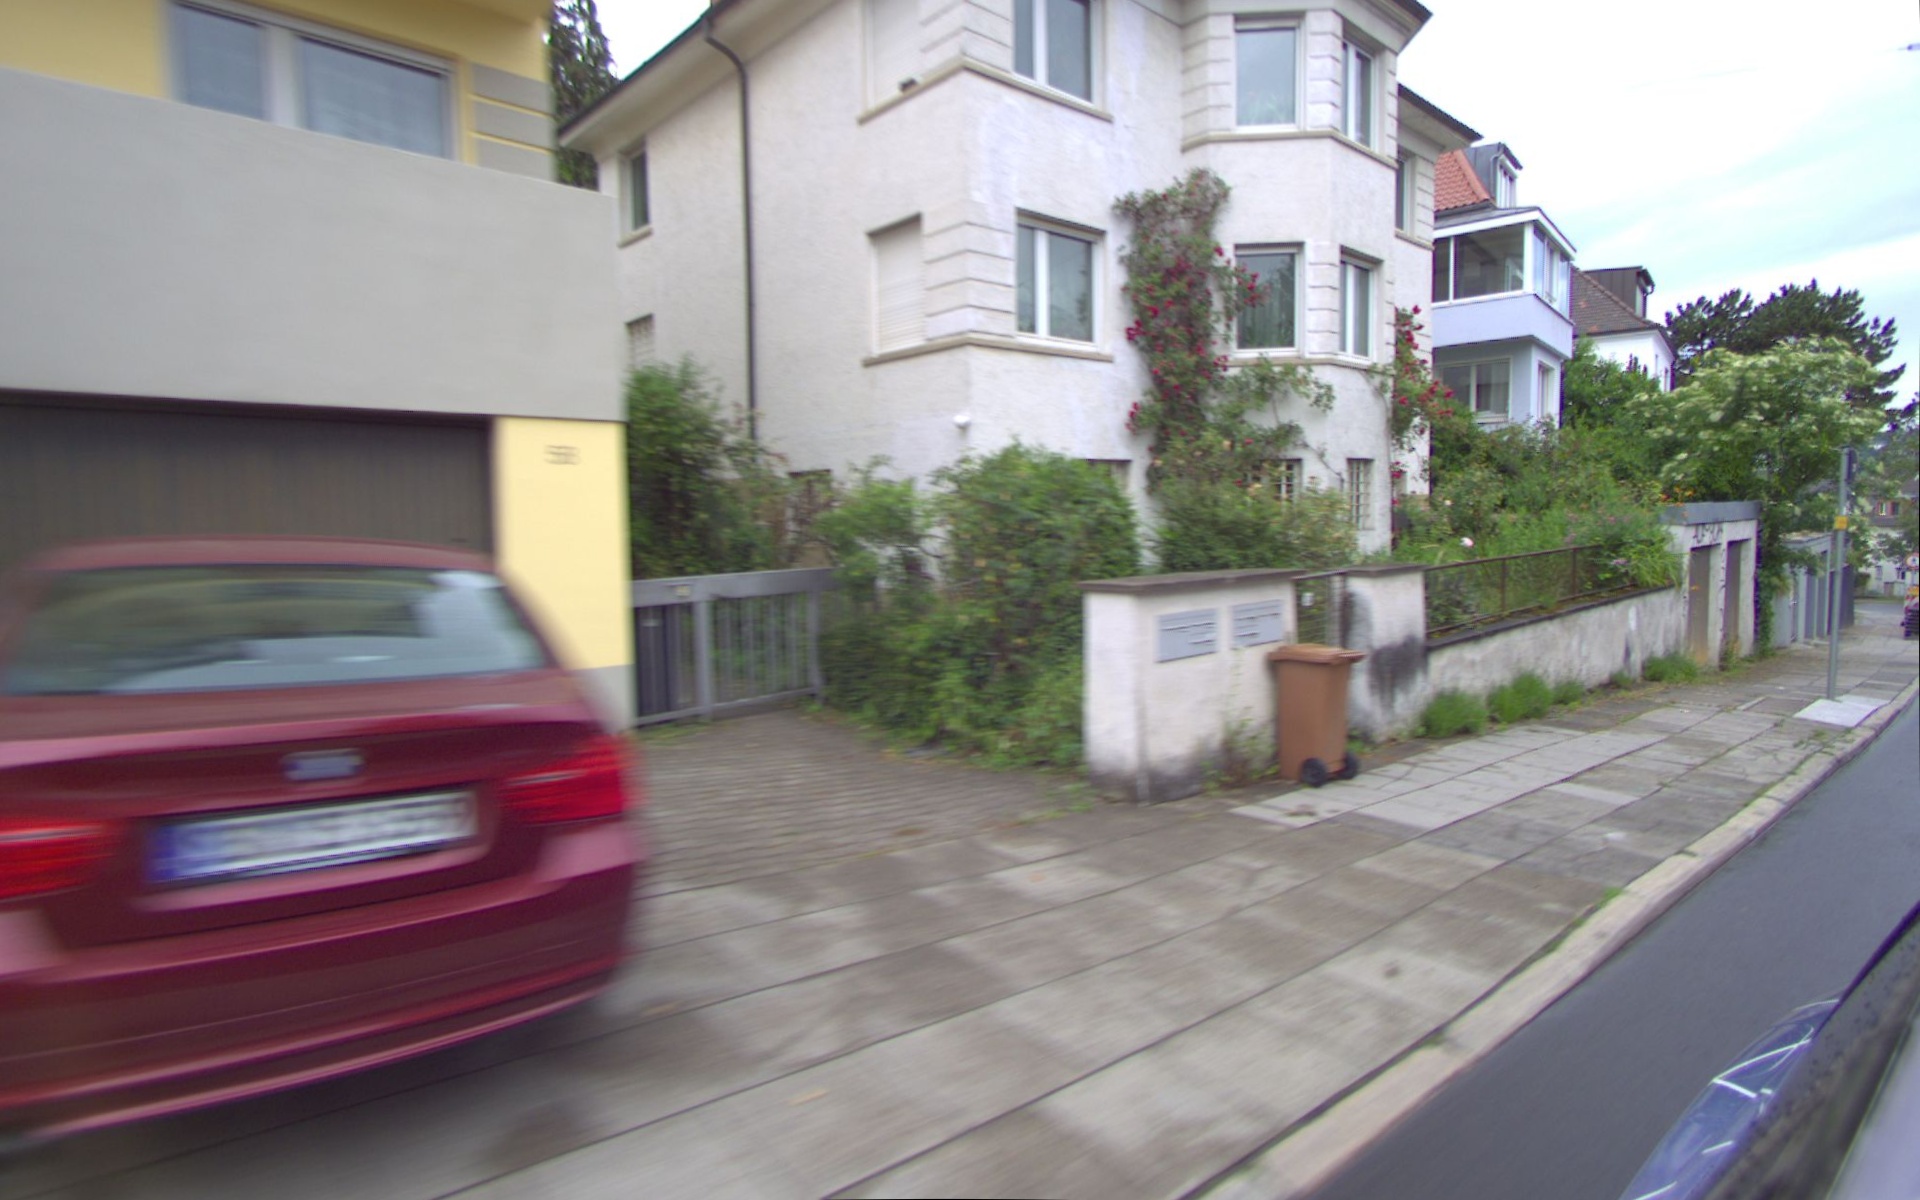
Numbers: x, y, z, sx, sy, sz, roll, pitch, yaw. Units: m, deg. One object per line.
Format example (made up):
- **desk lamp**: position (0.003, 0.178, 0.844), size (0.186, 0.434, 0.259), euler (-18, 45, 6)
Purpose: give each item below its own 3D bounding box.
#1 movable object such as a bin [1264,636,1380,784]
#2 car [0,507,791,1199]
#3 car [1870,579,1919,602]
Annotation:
- **movable object such as a bin**: position (2.474, 0.724, 6.922), size (0.518, 0.911, 0.569), euler (0, 1, -44)
- **car**: position (-2.426, 0.437, 3.700), size (1.800, 1.423, 4.185), euler (1, 4, -37)
- **car**: position (78.367, -0.790, 84.892), size (1.981, 1.738, 3.961), euler (1, -2, 27)
